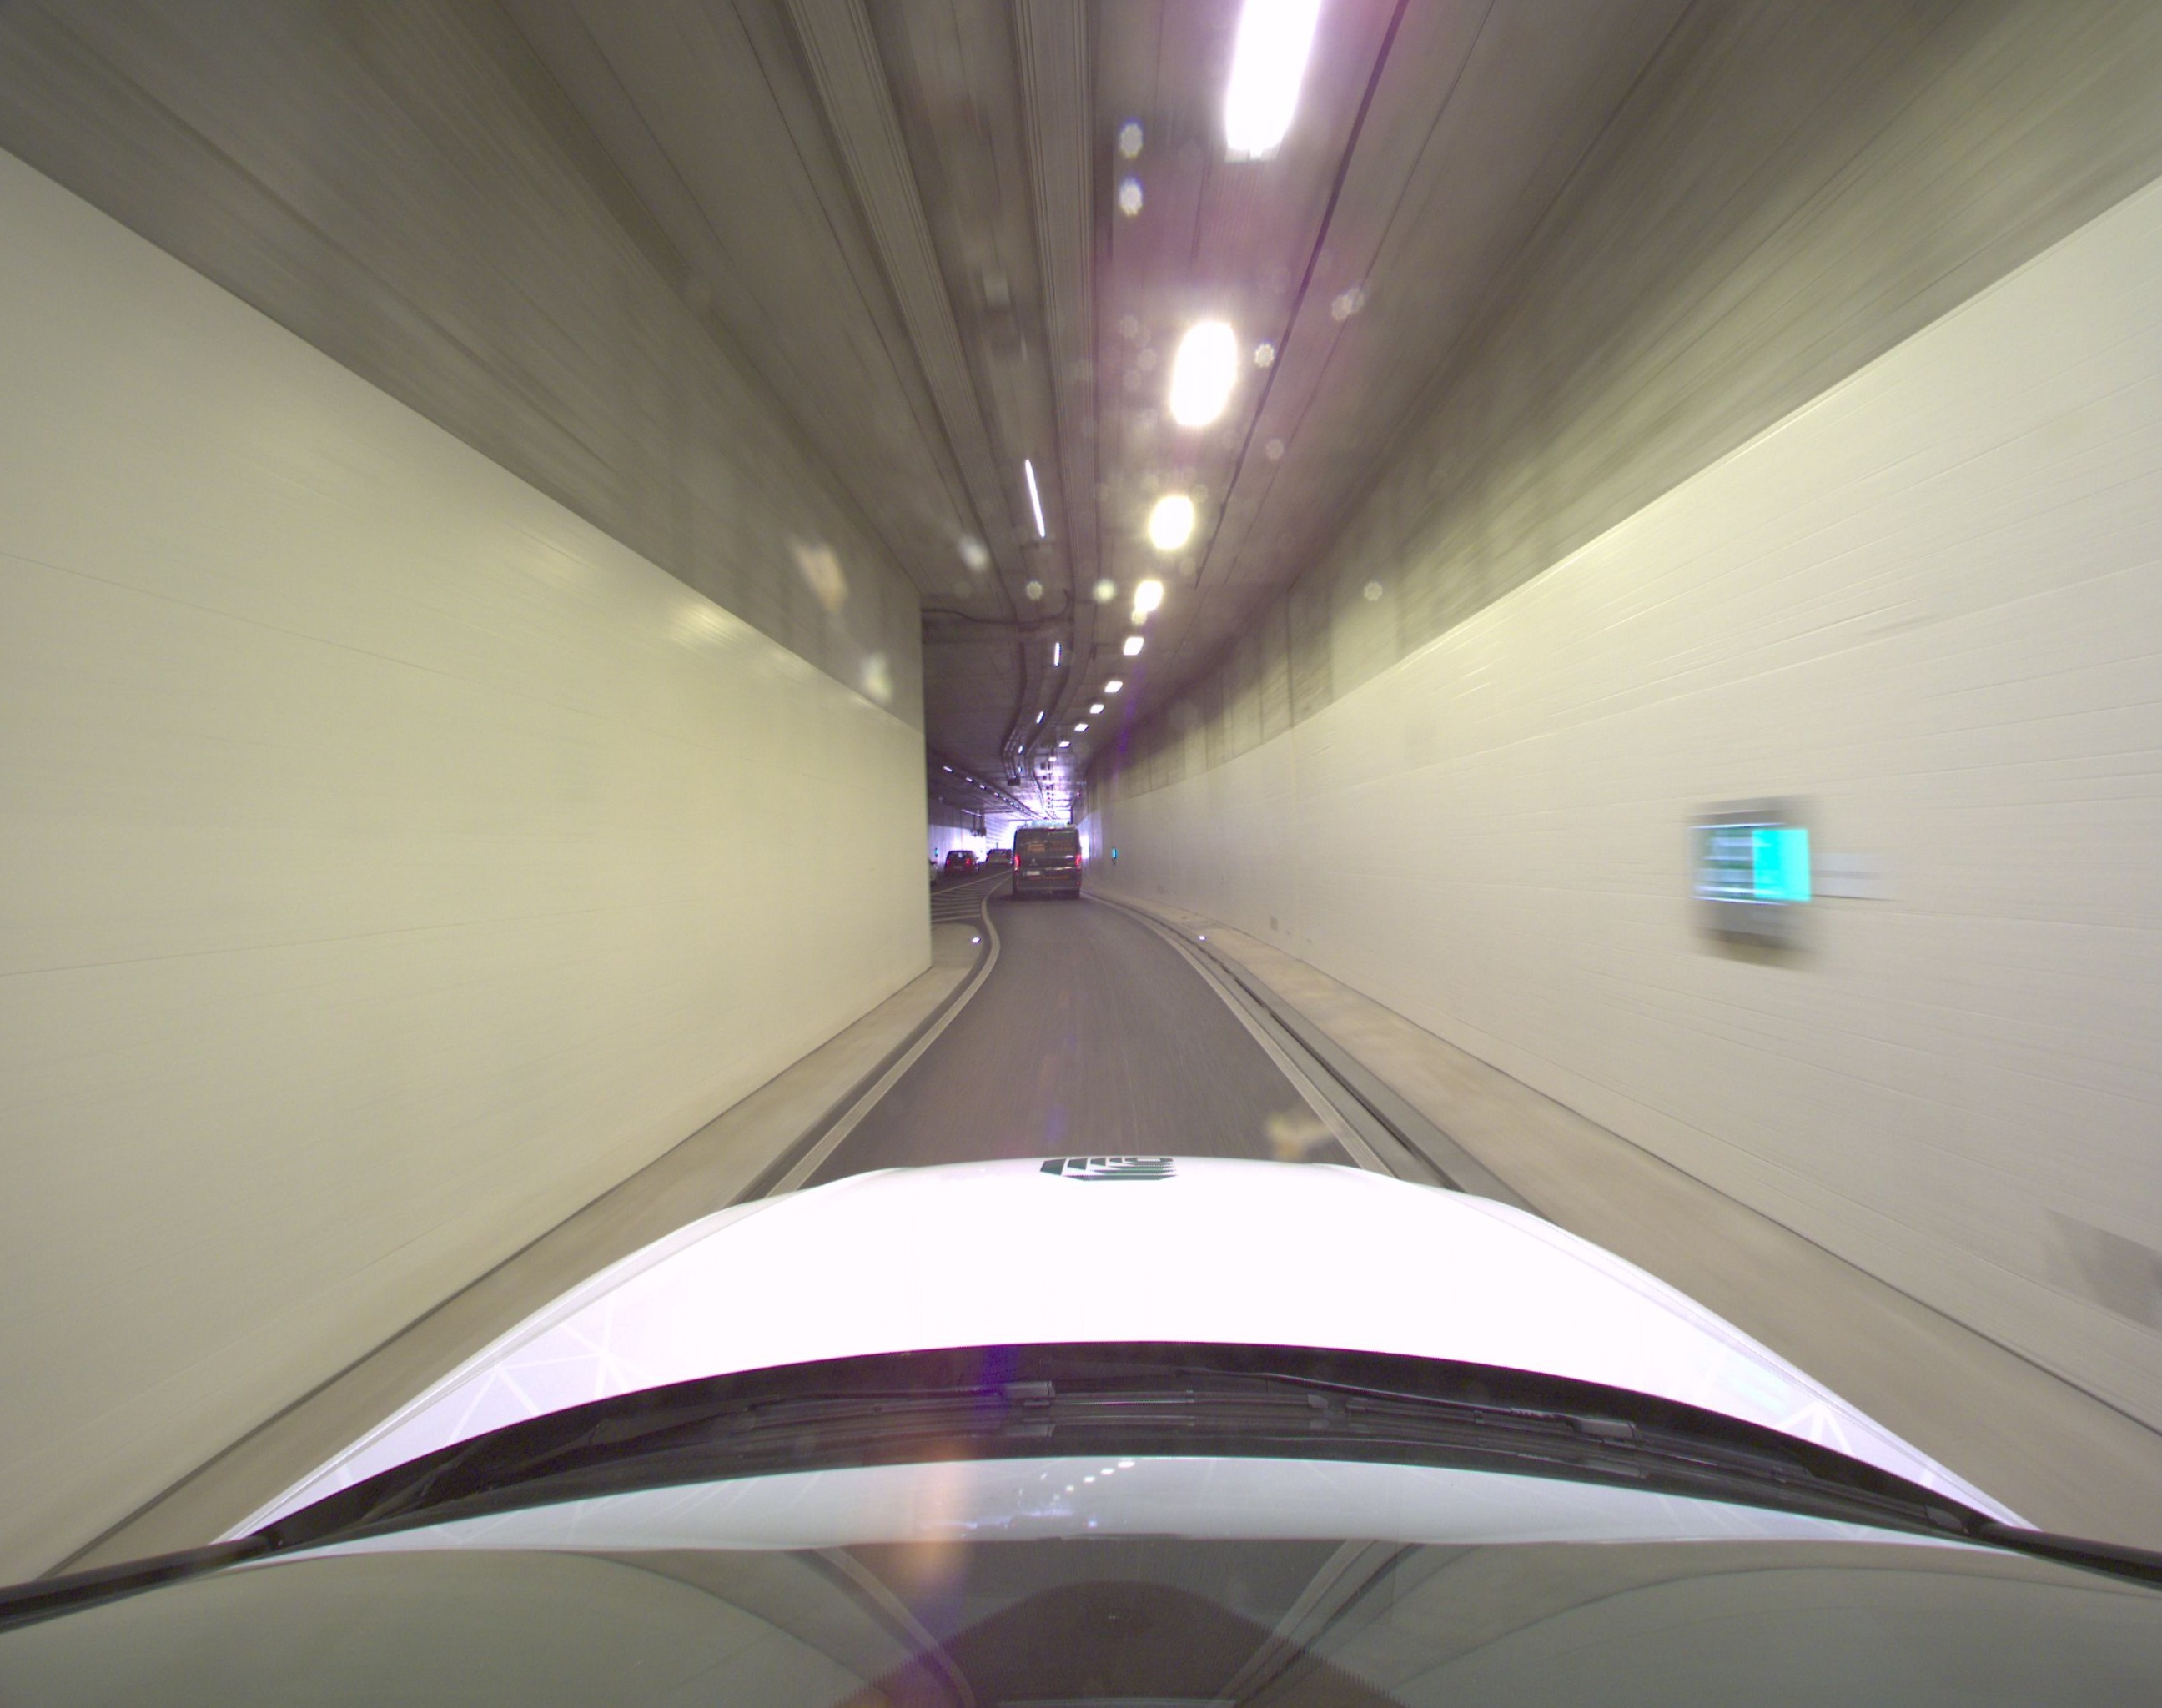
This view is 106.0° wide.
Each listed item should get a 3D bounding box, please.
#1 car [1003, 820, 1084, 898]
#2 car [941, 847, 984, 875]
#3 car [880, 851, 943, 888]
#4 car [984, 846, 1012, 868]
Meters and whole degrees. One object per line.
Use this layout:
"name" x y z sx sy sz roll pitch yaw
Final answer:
"car" -1.296 0.111 26.136 2.157 2.265 4.624 -1 1 -8
"car" -6.840 0.364 47.319 1.808 1.512 4.221 0 1 1
"car" -6.885 0.585 33.382 1.703 1.413 3.974 0 1 0
"car" -6.246 0.238 61.772 1.872 1.581 4.216 0 0 -3
